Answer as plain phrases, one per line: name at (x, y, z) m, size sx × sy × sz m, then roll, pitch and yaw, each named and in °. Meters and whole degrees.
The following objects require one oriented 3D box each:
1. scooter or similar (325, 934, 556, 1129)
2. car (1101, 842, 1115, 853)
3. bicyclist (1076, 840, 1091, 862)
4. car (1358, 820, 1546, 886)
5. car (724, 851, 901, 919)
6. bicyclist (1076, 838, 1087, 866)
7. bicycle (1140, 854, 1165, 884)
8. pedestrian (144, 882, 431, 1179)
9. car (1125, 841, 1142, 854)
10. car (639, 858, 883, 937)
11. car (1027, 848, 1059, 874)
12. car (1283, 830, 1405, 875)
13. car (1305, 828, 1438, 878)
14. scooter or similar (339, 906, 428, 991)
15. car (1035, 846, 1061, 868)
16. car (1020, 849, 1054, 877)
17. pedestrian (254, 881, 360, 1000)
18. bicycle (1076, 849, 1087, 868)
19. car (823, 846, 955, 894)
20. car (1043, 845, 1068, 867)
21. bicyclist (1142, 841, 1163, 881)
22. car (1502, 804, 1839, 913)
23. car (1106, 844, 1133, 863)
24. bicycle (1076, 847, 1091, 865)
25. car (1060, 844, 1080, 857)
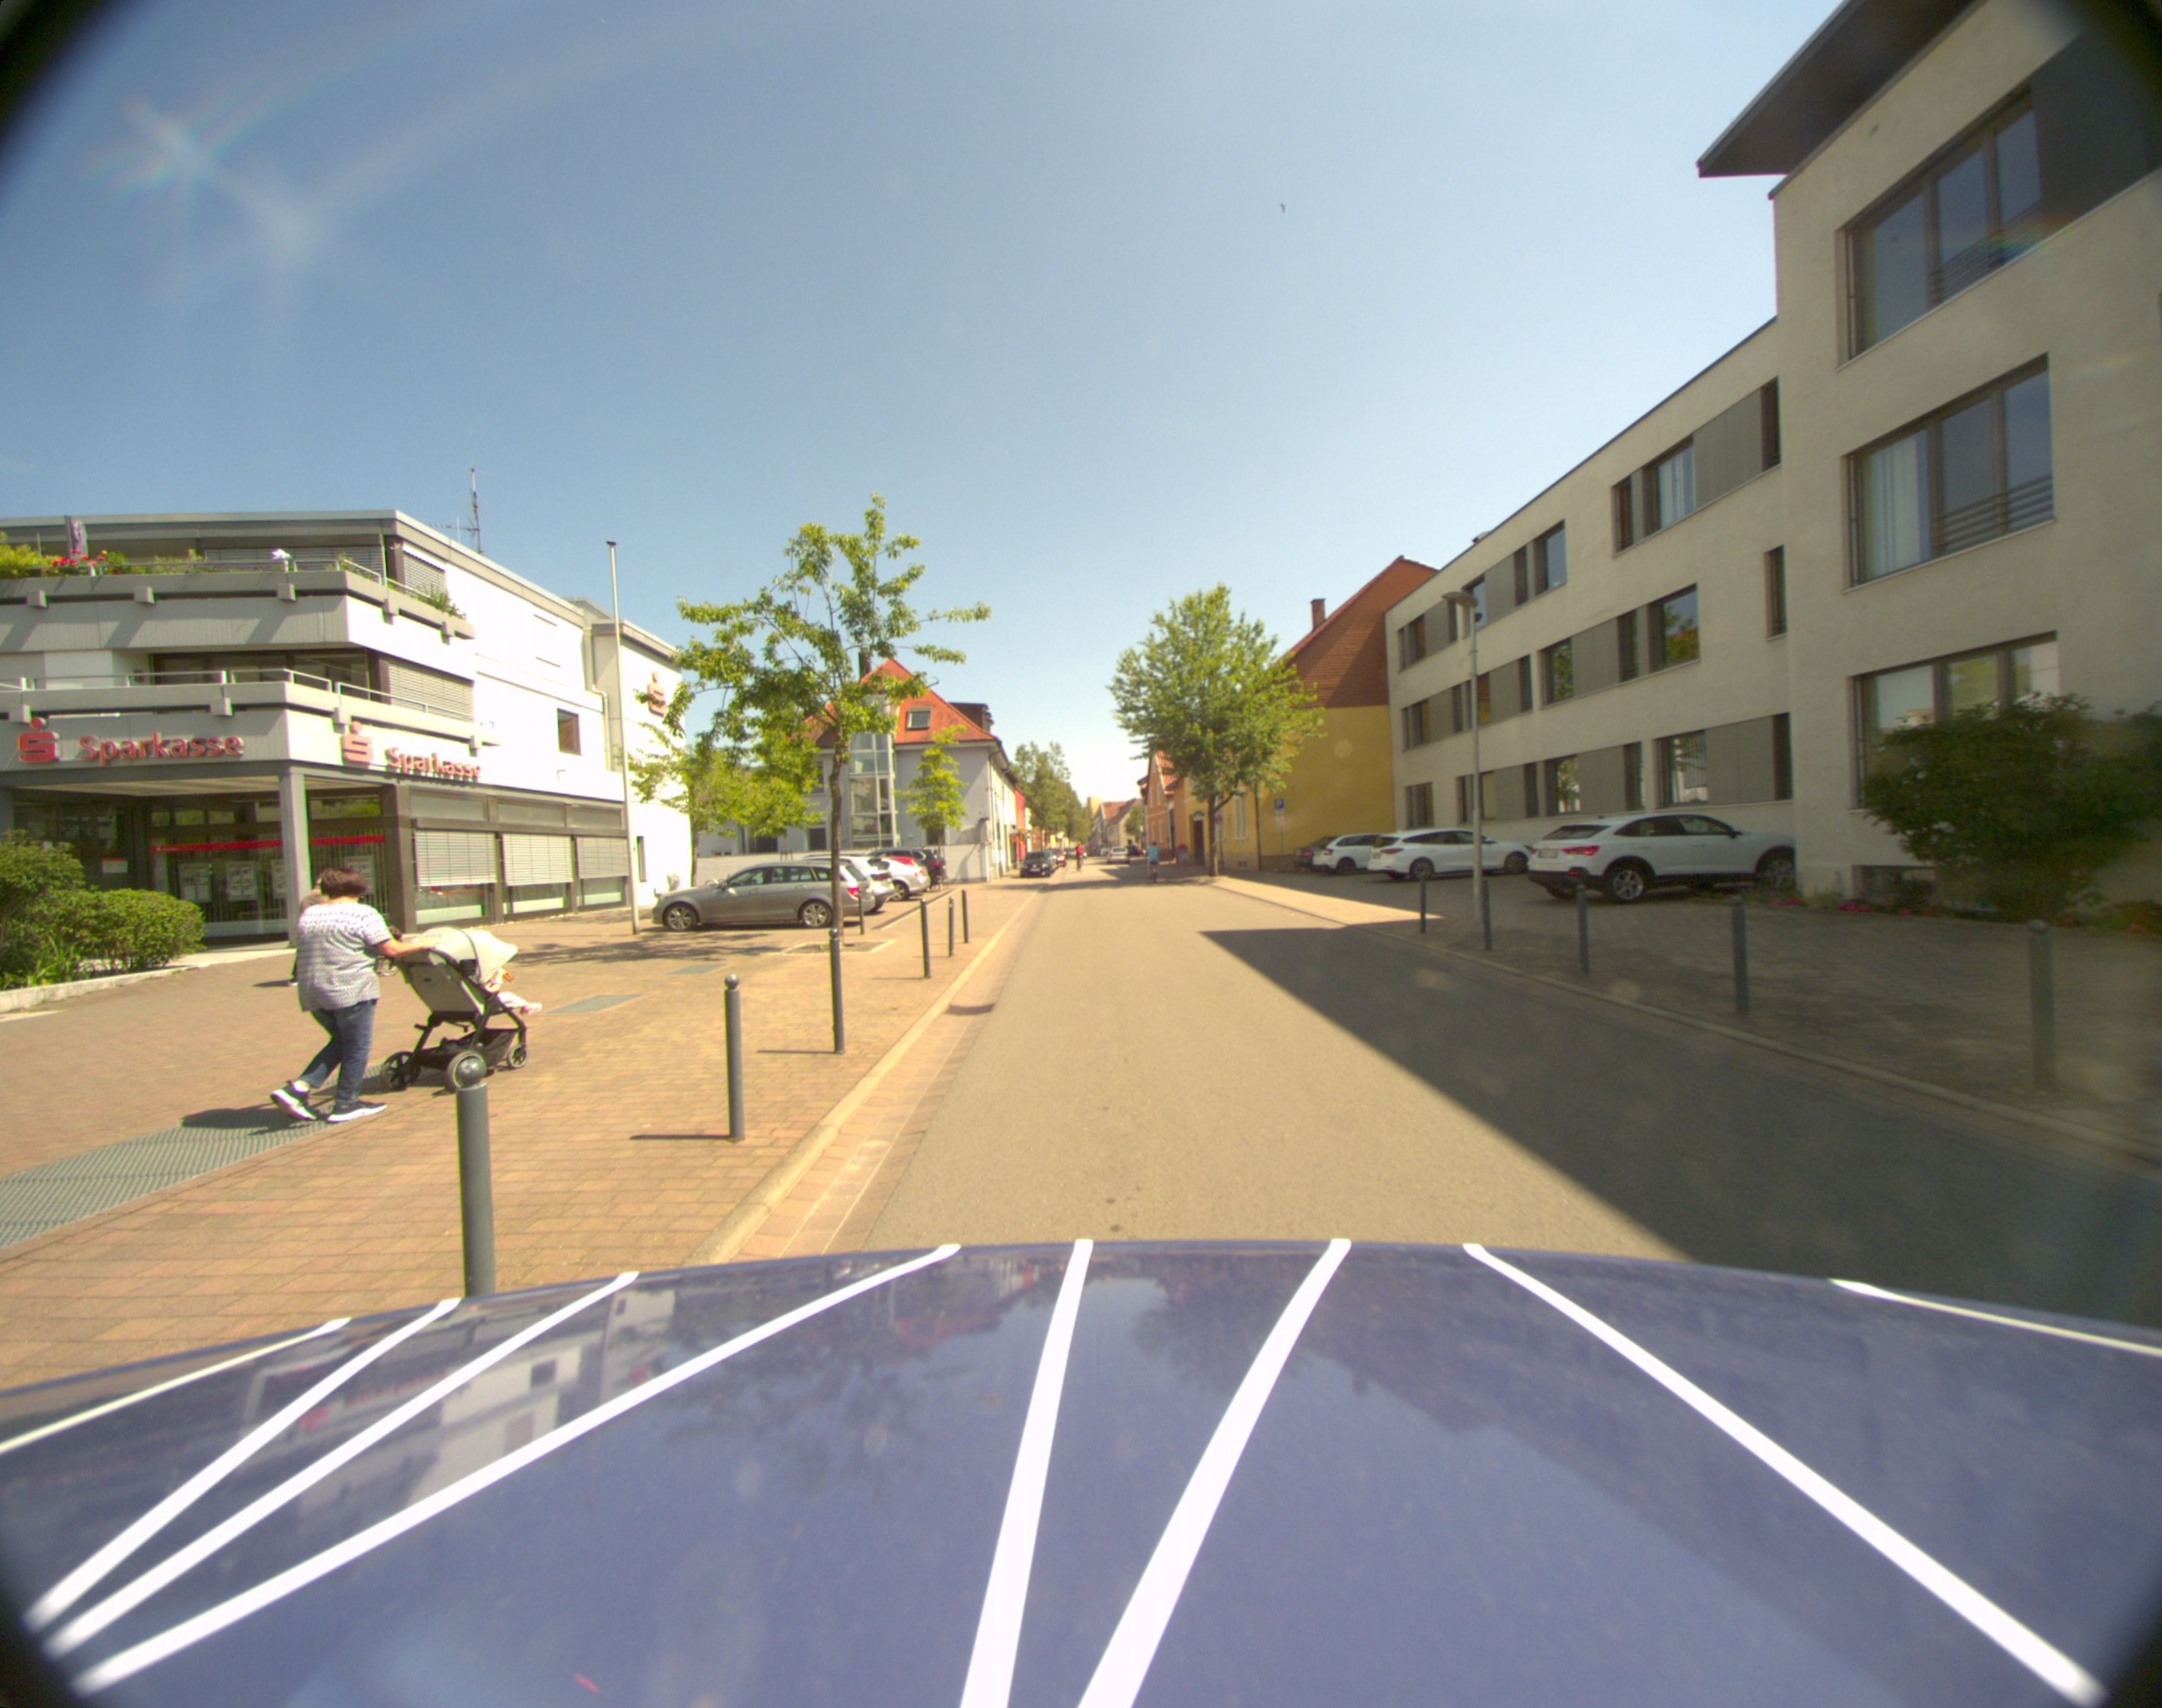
scooter or similar at (-4.424, 1.187, 5.340) m, size 0.627 × 1.100 × 1.044 m, roll -3°, pitch 1°, yaw 5°
car at (5.816, -1.354, 162.879) m, size 2.443 × 2.224 × 4.958 m, roll -3°, pitch 1°, yaw -3°
bicyclist at (0.206, -0.258, 58.627) m, size 1.028 × 1.635 × 1.025 m, roll -2°, pitch 1°, yaw 3°
car at (10.755, -0.048, 22.282) m, size 4.515 × 1.545 × 1.934 m, roll -4°, pitch 2°, yaw 0°
car at (-6.890, 0.770, 19.853) m, size 3.998 × 1.565 × 1.856 m, roll 1°, pitch 3°, yaw -4°
bicyclist at (0.052, -0.140, 48.702) m, size 0.645 × 1.766 × 0.722 m, roll -1°, pitch 0°, yaw 2°
bicycle at (2.829, 0.579, 29.993) m, size 0.675 × 1.103 × 1.897 m, roll -1°, pitch 1°, yaw 14°
pedestrian at (-4.538, 0.955, 4.415) m, size 0.705 × 1.512 × 0.801 m, roll -3°, pitch 1°, yaw 4°
car at (6.930, -0.904, 99.807) m, size 1.863 × 1.620 × 4.048 m, roll -3°, pitch 1°, yaw 7°
car at (-6.925, 0.904, 16.880) m, size 4.589 × 1.504 × 1.915 m, roll -1°, pitch 1°, yaw -6°
car at (-2.376, 0.414, 48.190) m, size 1.721 × 1.473 × 4.095 m, roll -2°, pitch 1°, yaw 1°
car at (10.253, -0.046, 29.830) m, size 3.998 × 1.423 × 1.971 m, roll -4°, pitch 0°, yaw -4°
car at (10.373, -0.044, 27.331) m, size 3.997 × 1.443 × 1.807 m, roll -4°, pitch 0°, yaw 0°
scooter or similar at (-9.874, 1.320, 10.787) m, size 0.806 × 1.069 × 0.589 m, roll -4°, pitch 1°, yaw -35°
car at (-2.382, 0.225, 55.962) m, size 1.741 × 1.504 × 3.735 m, roll -2°, pitch 0°, yaw -1°
car at (-2.424, 0.469, 42.636) m, size 1.708 × 1.473 × 3.920 m, roll -1°, pitch 1°, yaw -1°
pedestrian at (-10.530, 1.137, 10.369) m, size 0.812 × 1.488 × 0.667 m, roll -4°, pitch 1°, yaw -33°
bicycle at (0.052, 0.289, 48.636) m, size 0.635 × 1.227 × 1.894 m, roll -1°, pitch -1°, yaw 2°
car at (-7.467, 0.609, 29.907) m, size 4.643 × 1.761 × 2.147 m, roll -1°, pitch 0°, yaw -3°
car at (-2.135, 0.142, 62.161) m, size 1.834 × 1.579 × 4.086 m, roll -4°, pitch 1°, yaw -3°
bicyclist at (2.818, 0.272, 29.970) m, size 0.670 × 1.518 × 0.762 m, roll -1°, pitch 1°, yaw 14°
car at (10.639, 0.062, 13.985) m, size 4.518 × 1.545 × 2.147 m, roll -4°, pitch 1°, yaw -2°
car at (3.129, -0.034, 61.927) m, size 1.885 × 1.455 × 4.435 m, roll -1°, pitch 1°, yaw -1°
bicycle at (0.223, 0.136, 58.796) m, size 0.959 × 1.363 × 2.406 m, roll -2°, pitch 1°, yaw 4°
car at (-1.406, -0.498, 100.276) m, size 1.928 × 1.594 × 4.110 m, roll -3°, pitch 1°, yaw 7°
